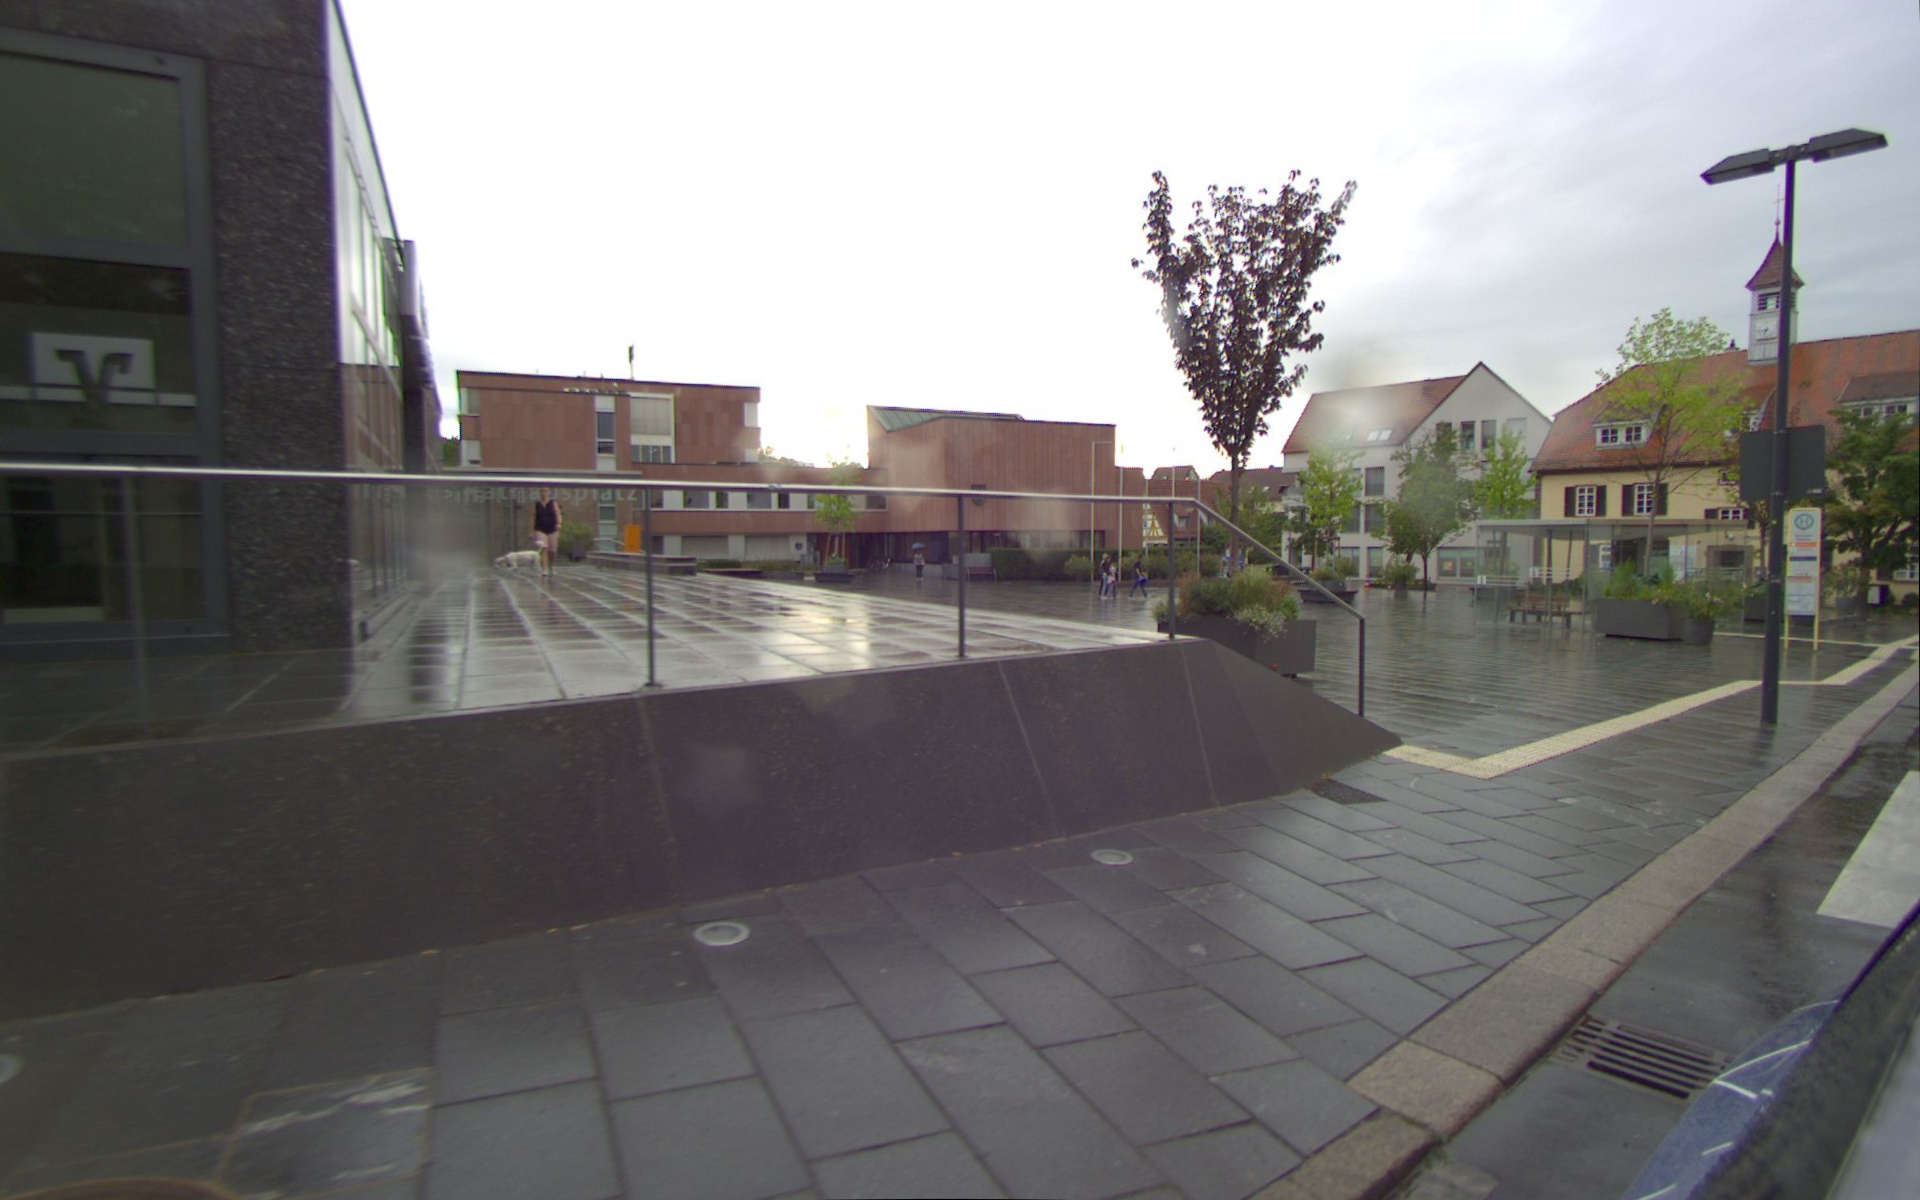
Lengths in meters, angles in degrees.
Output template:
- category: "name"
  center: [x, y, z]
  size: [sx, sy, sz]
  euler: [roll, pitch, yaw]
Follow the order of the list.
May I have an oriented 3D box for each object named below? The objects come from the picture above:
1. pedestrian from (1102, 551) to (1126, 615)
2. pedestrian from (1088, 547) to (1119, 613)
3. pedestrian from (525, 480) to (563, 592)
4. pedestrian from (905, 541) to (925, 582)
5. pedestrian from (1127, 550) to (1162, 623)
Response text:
- category: "pedestrian"
  center: [6.056, -0.679, 39.767]
  size: [0.557, 2.468, 0.738]
  euler: [-1, 4, -26]
- category: "pedestrian"
  center: [5.515, -0.783, 39.030]
  size: [0.760, 2.468, 0.946]
  euler: [-1, 4, -23]
- category: "pedestrian"
  center: [-8.239, -1.264, 20.078]
  size: [0.645, 2.173, 0.762]
  euler: [-1, 4, -21]
- category: "pedestrian"
  center: [-2.577, -2.222, 58.151]
  size: [0.783, 2.335, 0.905]
  euler: [-1, 4, -29]
- category: "pedestrian"
  center: [7.025, -0.525, 38.580]
  size: [0.814, 2.716, 1.060]
  euler: [-1, 4, -21]
